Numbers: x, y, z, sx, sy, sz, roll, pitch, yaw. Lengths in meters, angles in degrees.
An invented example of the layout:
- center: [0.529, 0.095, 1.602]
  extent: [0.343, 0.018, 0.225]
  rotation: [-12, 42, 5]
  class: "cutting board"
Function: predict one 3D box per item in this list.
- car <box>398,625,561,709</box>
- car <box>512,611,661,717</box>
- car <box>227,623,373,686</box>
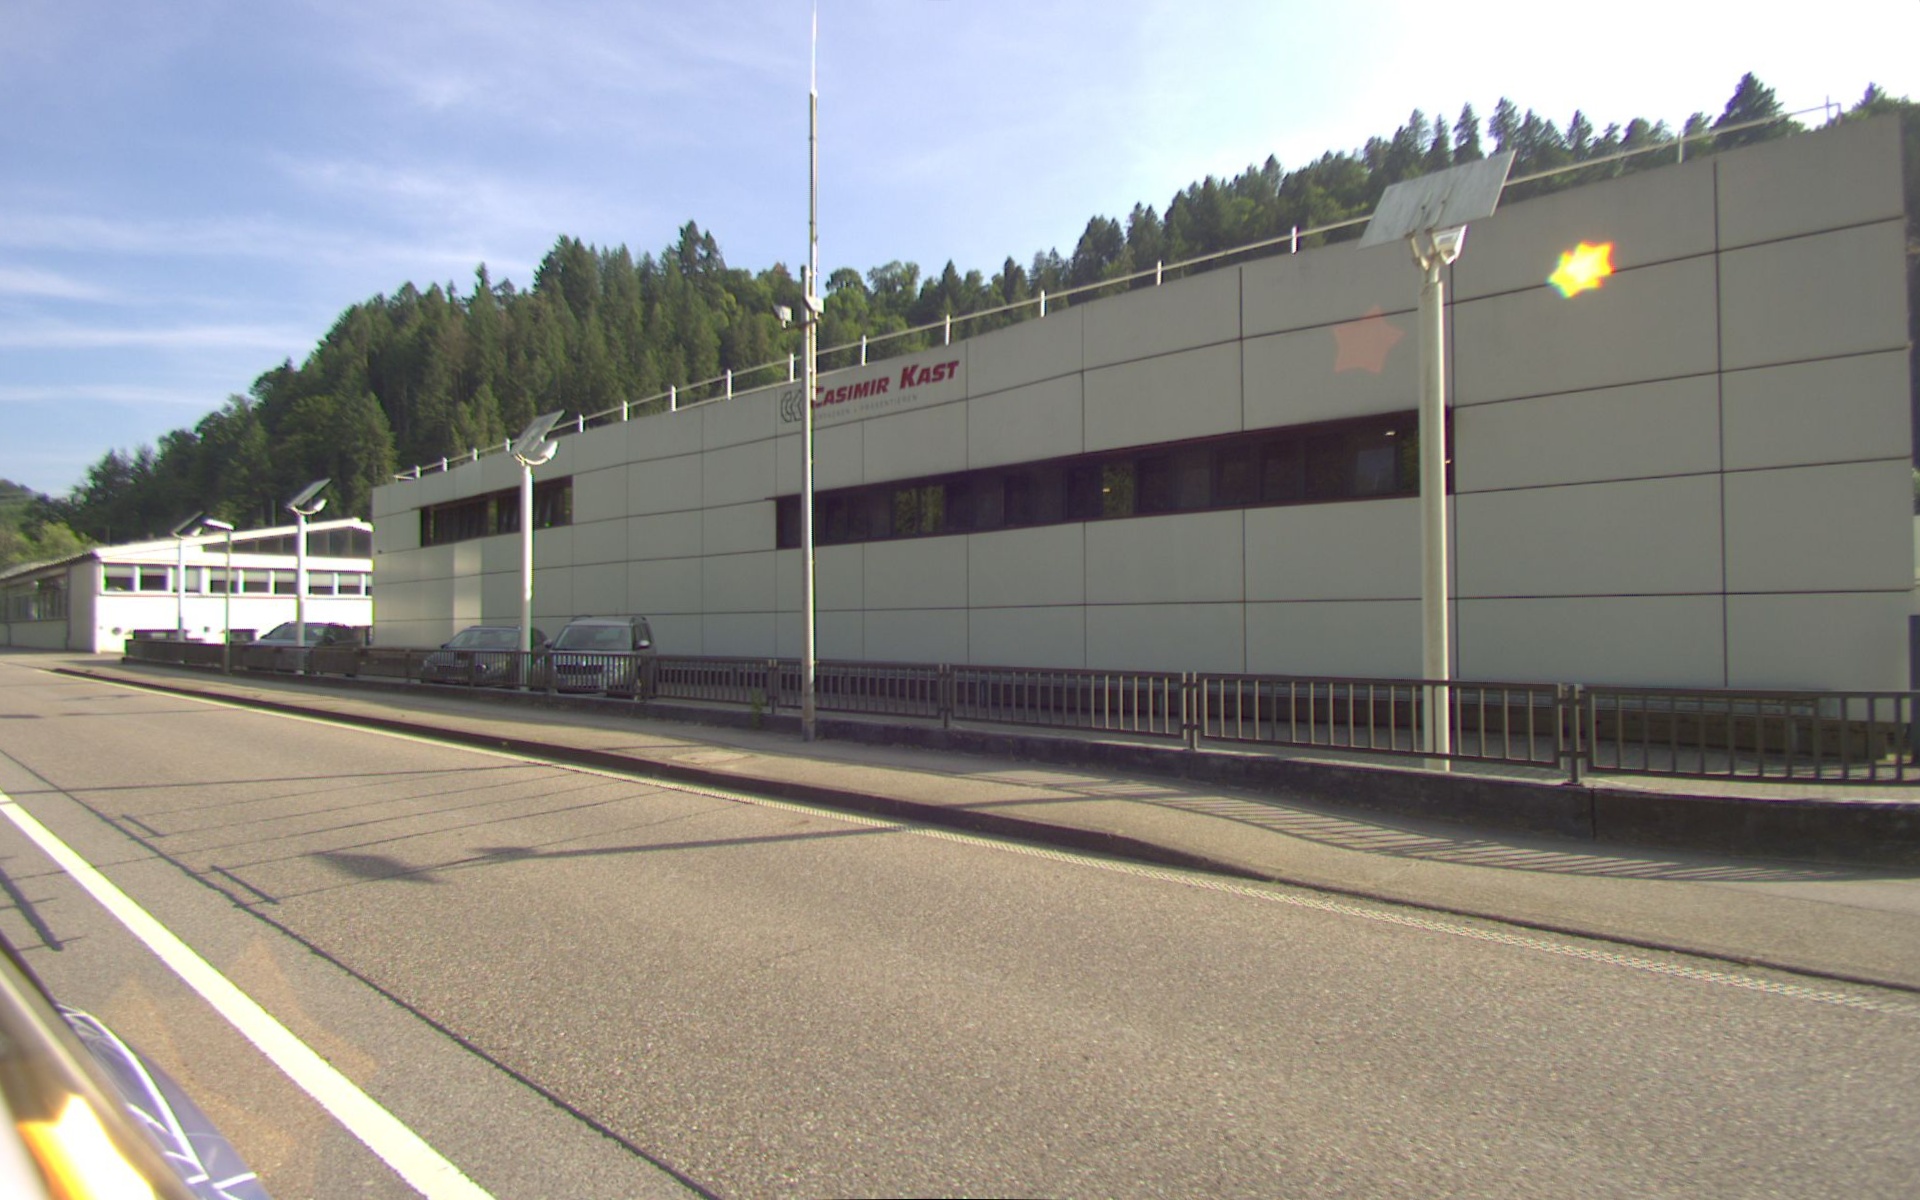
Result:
- center: [-10.010, 1.325, 21.489]
  extent: [1.859, 1.506, 4.496]
  rotation: [-1, -1, -8]
  class: "car"
- center: [-6.789, 1.089, 18.825]
  extent: [1.753, 1.721, 4.117]
  rotation: [-1, -1, -8]
  class: "car"
- center: [-18.495, 1.474, 28.607]
  extent: [1.859, 1.604, 4.182]
  rotation: [-1, -1, -8]
  class: "car"
